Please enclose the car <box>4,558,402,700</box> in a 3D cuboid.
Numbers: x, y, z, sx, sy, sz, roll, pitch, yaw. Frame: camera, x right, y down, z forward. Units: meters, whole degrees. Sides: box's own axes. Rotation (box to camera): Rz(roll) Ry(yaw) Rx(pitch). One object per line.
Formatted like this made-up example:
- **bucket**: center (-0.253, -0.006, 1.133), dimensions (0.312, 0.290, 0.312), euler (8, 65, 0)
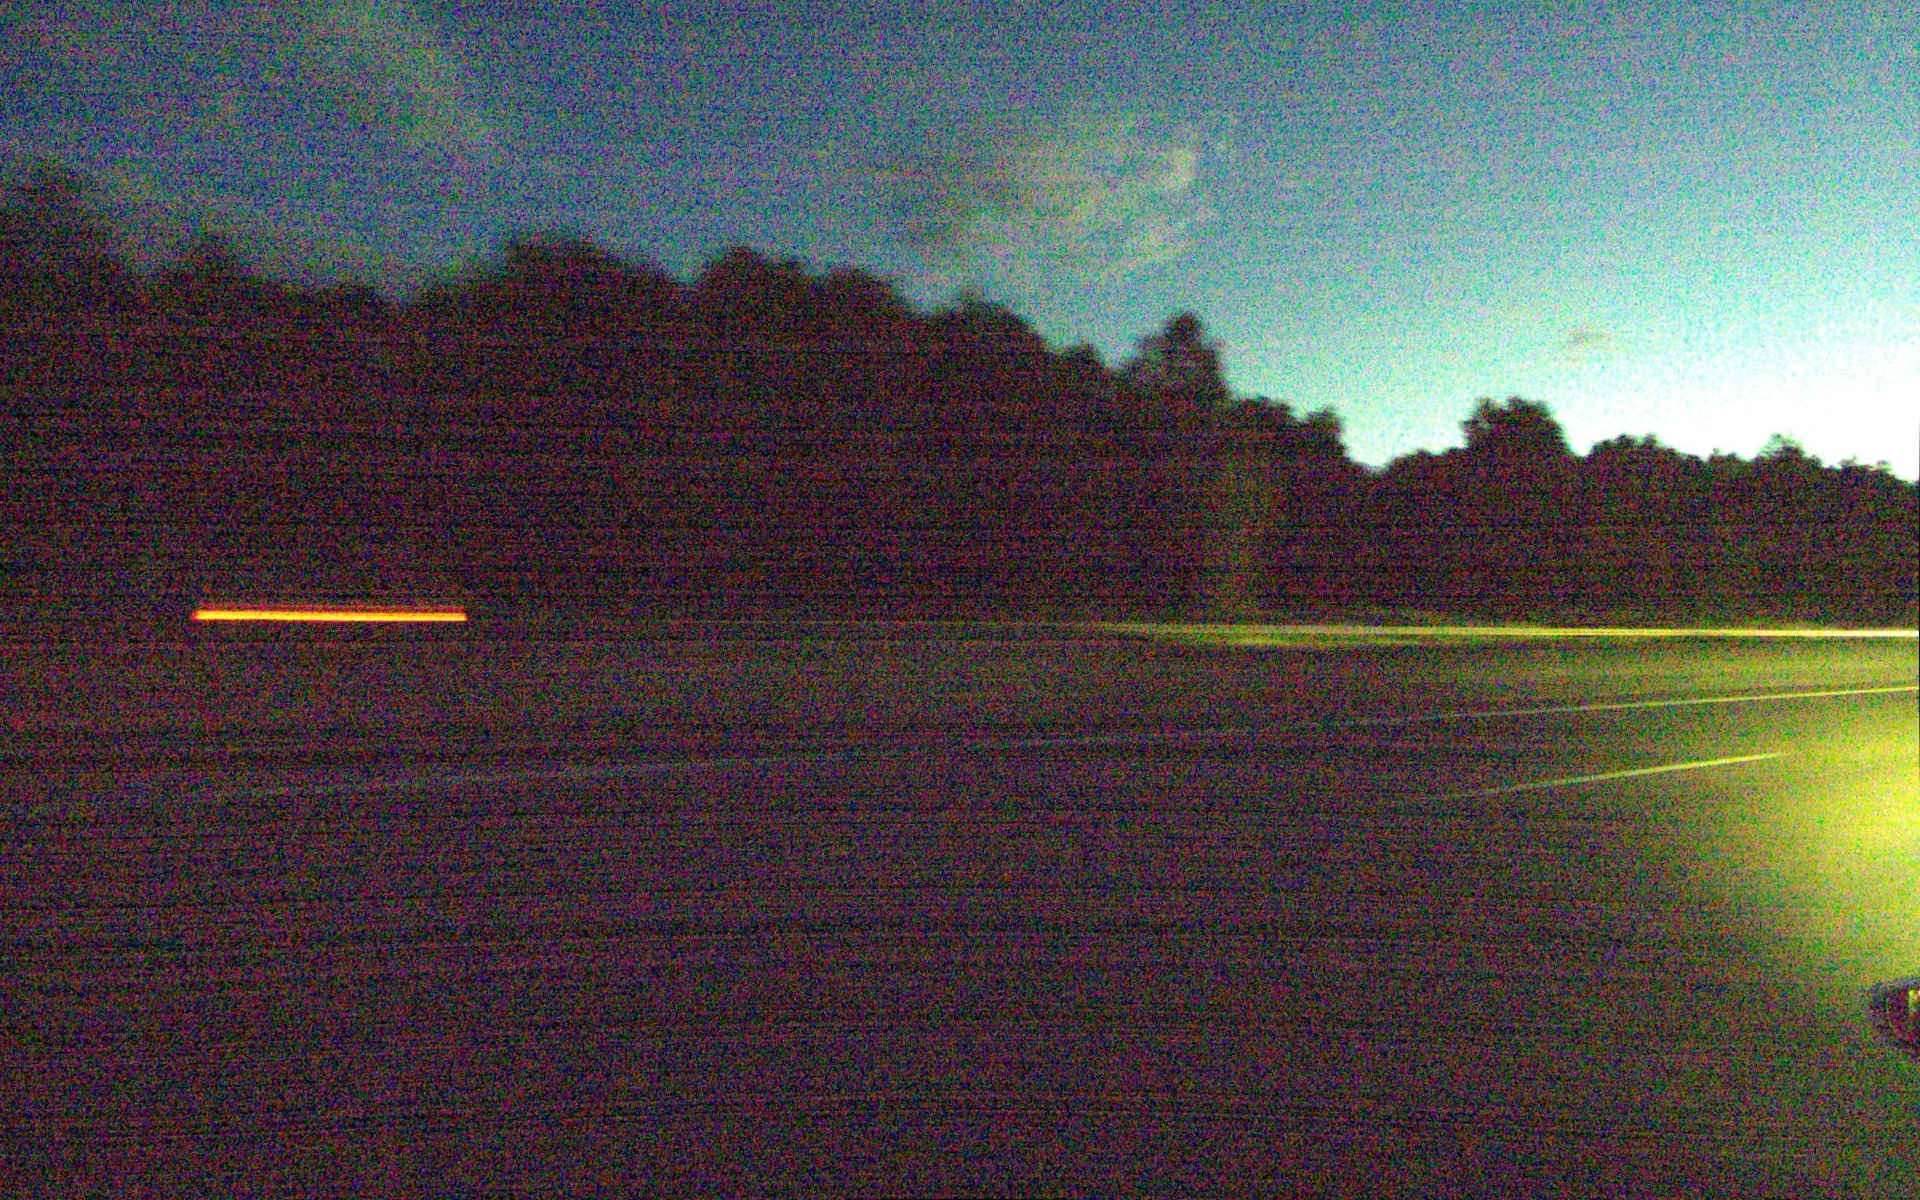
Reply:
- **car**: center (-10.698, 0.434, 14.708), dimensions (4.346, 1.810, 1.985), euler (2, -1, -29)
